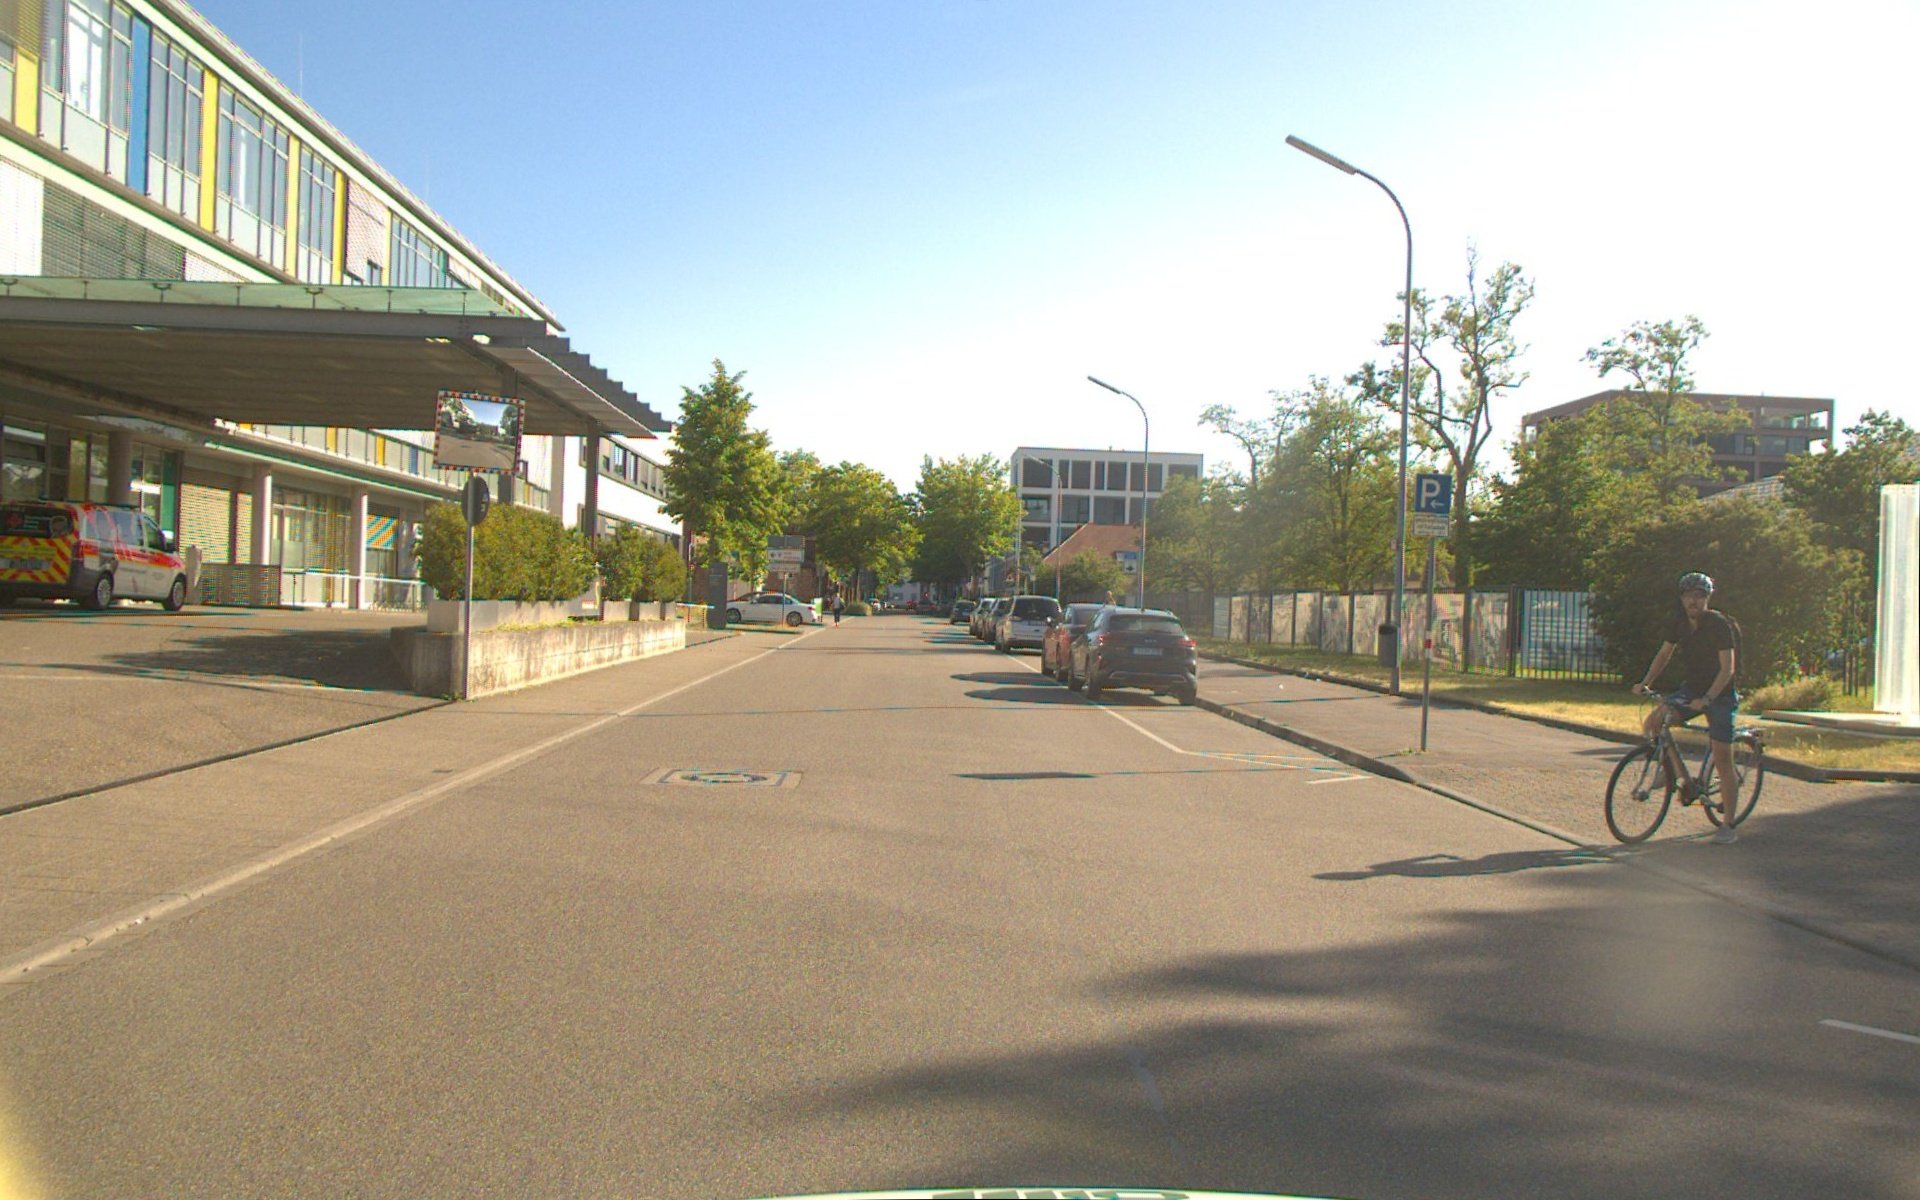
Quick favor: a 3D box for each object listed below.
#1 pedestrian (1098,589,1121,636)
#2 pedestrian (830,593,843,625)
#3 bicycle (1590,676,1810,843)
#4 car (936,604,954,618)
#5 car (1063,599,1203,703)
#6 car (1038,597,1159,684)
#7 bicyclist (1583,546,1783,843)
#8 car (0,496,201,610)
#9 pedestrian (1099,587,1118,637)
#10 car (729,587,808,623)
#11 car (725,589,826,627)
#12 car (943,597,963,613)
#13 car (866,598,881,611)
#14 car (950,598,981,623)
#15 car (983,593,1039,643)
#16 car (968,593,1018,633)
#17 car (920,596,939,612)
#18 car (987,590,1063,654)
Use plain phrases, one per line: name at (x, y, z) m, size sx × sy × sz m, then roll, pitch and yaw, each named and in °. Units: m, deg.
pedestrian at (5.308, 0.450, 58.741) m, size 0.668 × 1.639 × 0.540 m, roll 4°, pitch -1°, yaw -5°
pedestrian at (-6.000, 0.441, 80.350) m, size 0.527 × 1.550 × 0.607 m, roll 1°, pitch 0°, yaw -1°
bicycle at (5.487, 1.134, 12.227) m, size 1.865 × 1.026 × 0.692 m, roll -1°, pitch 2°, yaw -38°
car at (-1.739, 1.270, 191.066) m, size 1.911 × 1.606 × 3.835 m, roll 2°, pitch 0°, yaw -1°
car at (2.860, 0.803, 28.170) m, size 1.667 × 1.513 × 4.212 m, roll 3°, pitch 0°, yaw -3°
car at (2.755, 0.766, 33.952) m, size 1.773 × 1.536 × 4.719 m, roll 3°, pitch 0°, yaw -3°
bicyclist at (5.276, 0.634, 12.086) m, size 1.041 × 2.048 × 0.948 m, roll -1°, pitch 1°, yaw -35°
car at (-16.021, -0.823, 30.642) m, size 1.881 × 1.924 × 4.709 m, roll 1°, pitch 0°, yaw -2°
pedestrian at (5.351, 0.430, 59.714) m, size 0.511 × 1.738 × 0.521 m, roll 4°, pitch -1°, yaw -5°
car at (-9.047, 0.228, 78.161) m, size 3.564 × 1.494 × 1.612 m, roll 3°, pitch 0°, yaw -5°
car at (-8.383, 0.344, 75.217) m, size 4.427 × 1.391 × 1.697 m, roll 4°, pitch 0°, yaw -7°
car at (-0.741, 0.481, 162.198) m, size 1.732 × 1.465 × 3.997 m, roll 2°, pitch 0°, yaw -3°
car at (-10.516, 0.562, 201.474) m, size 1.732 × 1.513 × 3.997 m, roll 2°, pitch 0°, yaw -3°
car at (0.313, 0.625, 100.989) m, size 1.781 × 1.478 × 4.213 m, roll 1°, pitch 0°, yaw -1°
car at (1.789, 0.616, 59.582) m, size 1.666 × 1.634 × 4.351 m, roll 3°, pitch 0°, yaw -2°
car at (1.408, 0.563, 73.148) m, size 1.777 × 1.616 × 4.259 m, roll 3°, pitch 0°, yaw -4°
car at (-3.093, 0.434, 168.349) m, size 1.732 × 1.575 × 4.063 m, roll 2°, pitch 0°, yaw -3°
car at (1.916, 0.616, 50.170) m, size 1.773 × 1.752 × 4.701 m, roll 3°, pitch 0°, yaw -3°
